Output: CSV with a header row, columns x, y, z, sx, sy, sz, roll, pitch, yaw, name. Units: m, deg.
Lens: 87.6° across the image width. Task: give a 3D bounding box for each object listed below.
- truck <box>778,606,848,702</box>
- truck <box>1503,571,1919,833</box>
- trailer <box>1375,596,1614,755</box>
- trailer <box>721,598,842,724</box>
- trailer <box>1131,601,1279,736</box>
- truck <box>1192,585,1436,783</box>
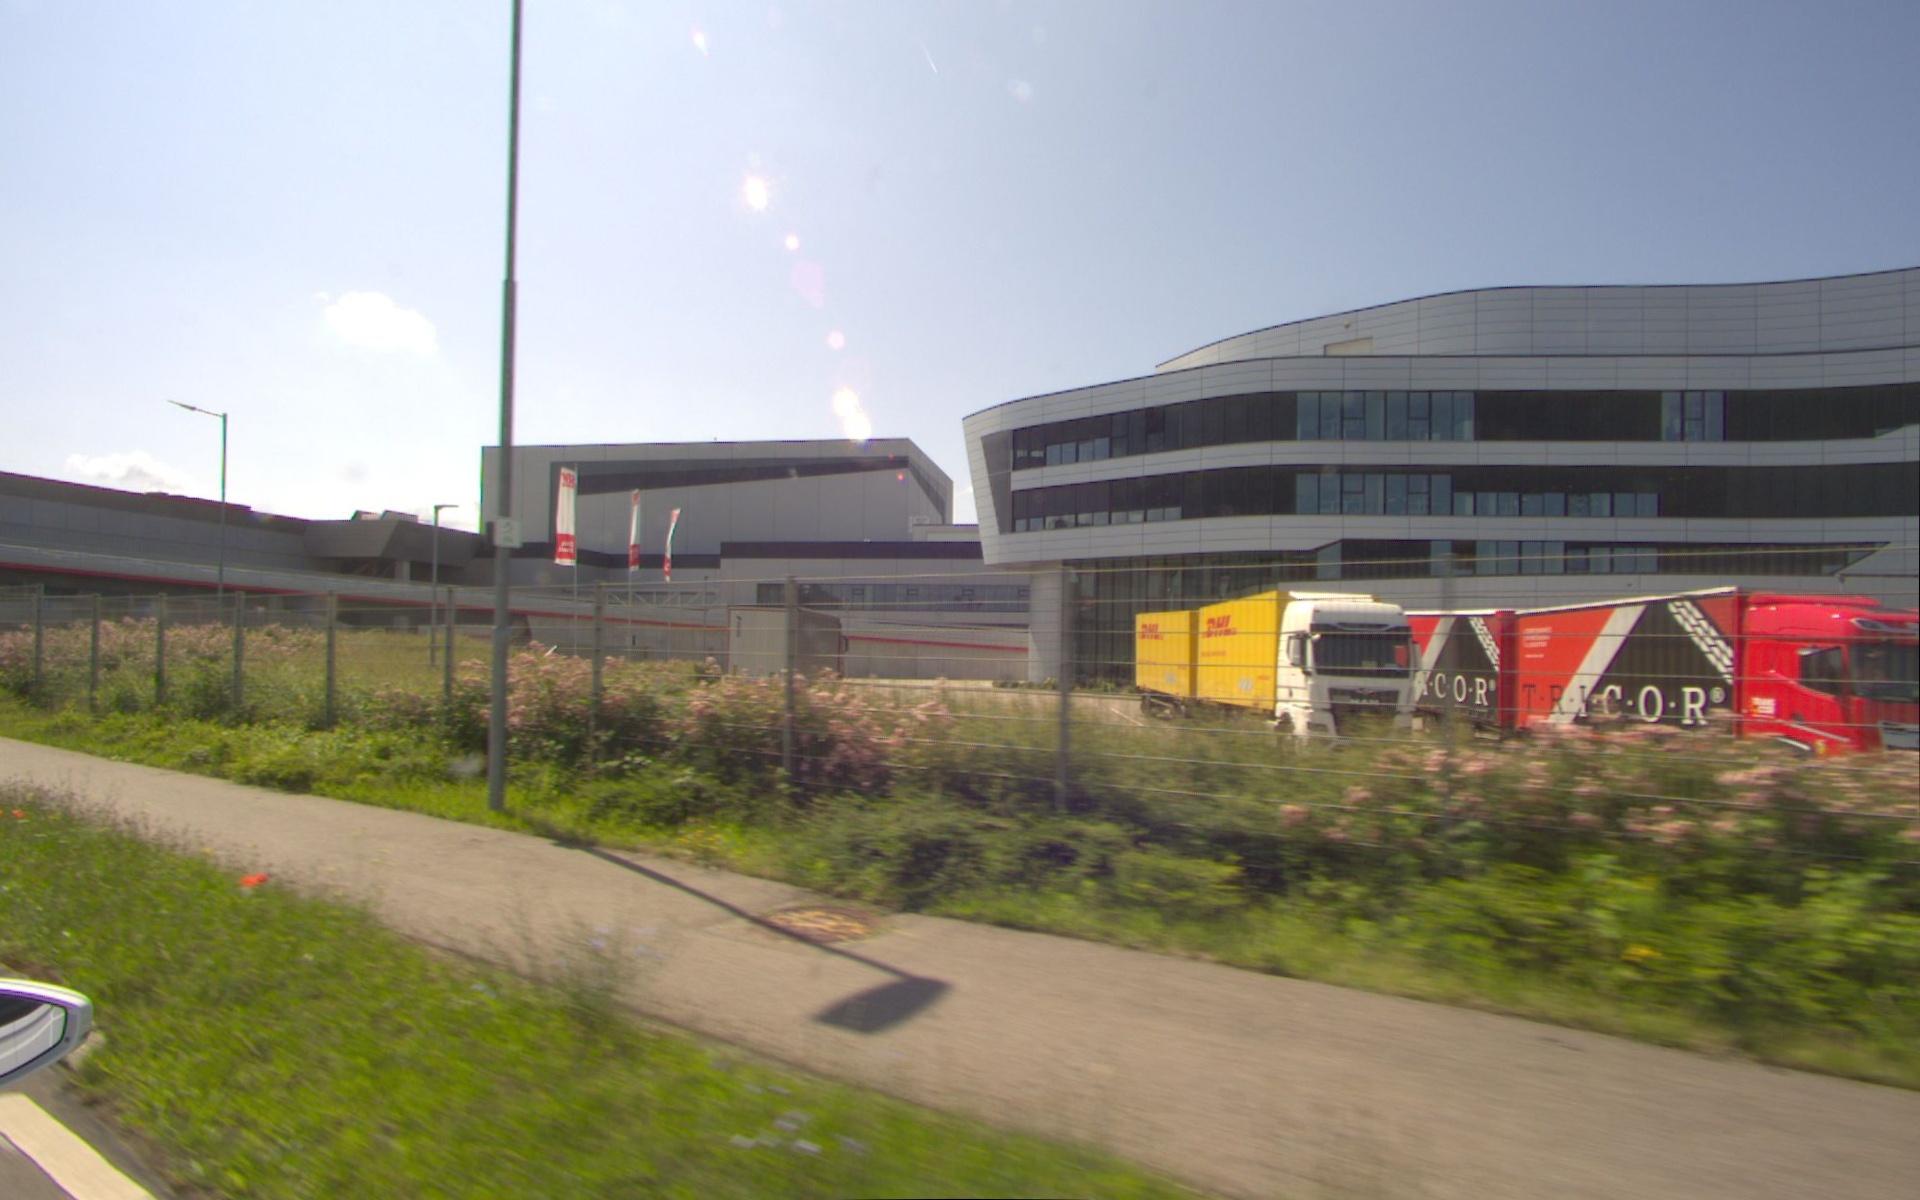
x,y,z,sx,sy,sz,roll,pitch,yaw,name
-7.192,2.626,49.680,2.712,4.479,5.293,0,-1,0,truck
16.368,1.854,21.931,2.970,4.310,10.979,0,-2,0,truck
16.418,2.199,31.742,2.970,4.350,8.719,0,-2,1,trailer
-7.157,2.395,42.634,2.712,4.494,14.069,0,-2,0,trailer
8.653,2.362,36.694,2.845,4.350,8.718,0,-2,-3,trailer
8.858,1.976,26.947,2.767,4.225,10.979,0,-2,1,truck
